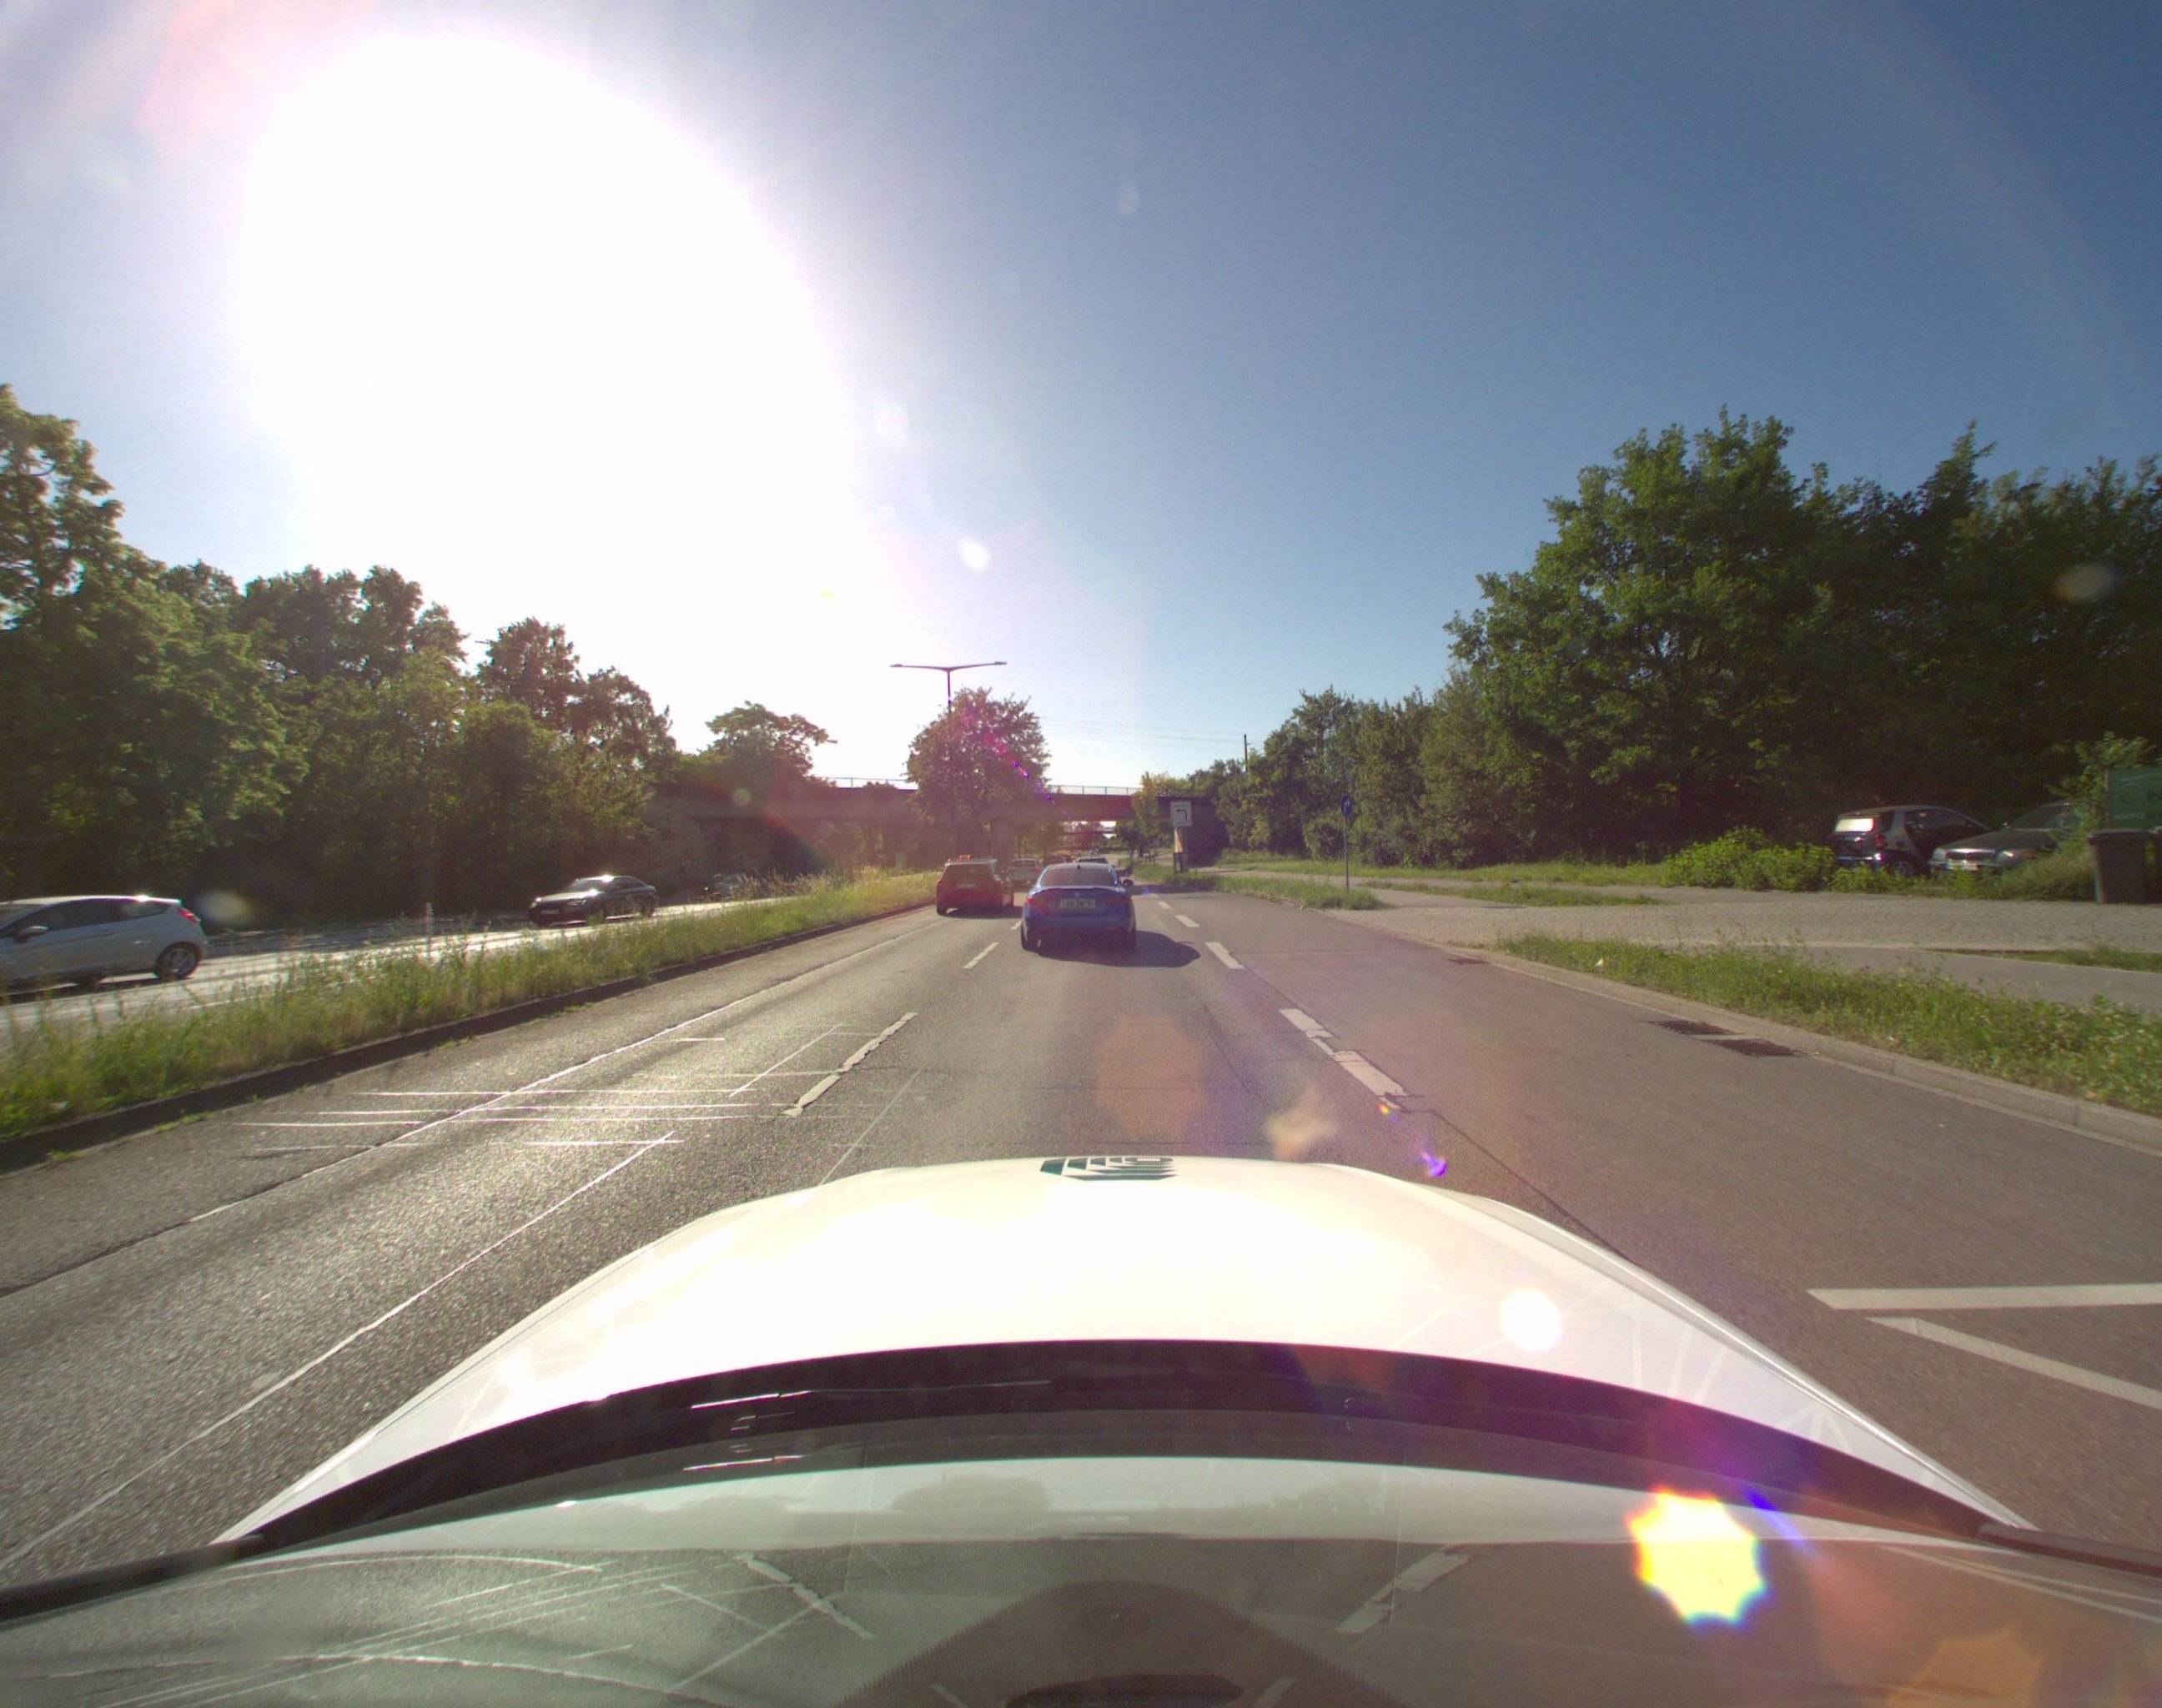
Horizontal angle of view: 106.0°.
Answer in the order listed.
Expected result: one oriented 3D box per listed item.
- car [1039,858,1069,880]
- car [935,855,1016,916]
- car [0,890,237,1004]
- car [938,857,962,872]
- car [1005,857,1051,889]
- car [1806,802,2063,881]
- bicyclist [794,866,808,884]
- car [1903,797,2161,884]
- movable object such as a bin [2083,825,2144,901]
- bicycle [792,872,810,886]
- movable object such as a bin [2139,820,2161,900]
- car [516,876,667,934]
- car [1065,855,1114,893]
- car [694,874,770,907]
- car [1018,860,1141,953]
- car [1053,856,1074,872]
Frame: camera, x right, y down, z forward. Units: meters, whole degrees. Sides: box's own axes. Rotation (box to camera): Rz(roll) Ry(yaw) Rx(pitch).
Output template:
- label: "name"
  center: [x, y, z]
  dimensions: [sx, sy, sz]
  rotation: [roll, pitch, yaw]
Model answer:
- label: "car"
  center: [-1.932, 1.067, 58.974]
  dimensions: [1.876, 1.454, 4.527]
  rotation: [-1, 0, 1]
- label: "car"
  center: [-2.955, 0.843, 23.650]
  dimensions: [1.702, 1.598, 4.225]
  rotation: [-1, 0, 1]
- label: "car"
  center: [-15.731, 1.407, 12.254]
  dimensions: [1.635, 1.451, 4.112]
  rotation: [-4, -1, 1]
- label: "car"
  center: [-14.208, 1.126, 88.781]
  dimensions: [1.810, 1.442, 4.090]
  rotation: [-3, -1, 1]
- label: "car"
  center: [-2.600, 0.911, 40.658]
  dimensions: [1.876, 1.454, 4.527]
  rotation: [-1, 0, 1]
- label: "car"
  center: [17.135, -0.233, 16.493]
  dimensions: [3.271, 1.486, 1.773]
  rotation: [-1, -1, 2]
- label: "bicyclist"
  center: [-21.282, 1.585, 62.000]
  dimensions: [0.677, 1.402, 1.027]
  rotation: [-1, -1, 1]
- label: "car"
  center: [17.060, -0.228, 14.382]
  dimensions: [3.271, 1.417, 1.729]
  rotation: [-1, -1, 2]
- label: "movable object such as a bin"
  center: [14.984, 0.121, 11.831]
  dimensions: [0.585, 1.074, 0.504]
  rotation: [-1, 0, -40]
- label: "bicycle"
  center: [-21.287, 1.882, 61.921]
  dimensions: [0.681, 1.030, 1.715]
  rotation: [-1, -1, 1]
- label: "movable object such as a bin"
  center: [15.418, 0.075, 11.514]
  dimensions: [0.585, 1.121, 0.504]
  rotation: [-1, -1, -40]
- label: "car"
  center: [-15.180, 1.519, 25.610]
  dimensions: [1.811, 1.435, 4.631]
  rotation: [-4, -1, 1]
- label: "car"
  center: [0.380, 0.795, 33.905]
  dimensions: [1.876, 1.454, 4.527]
  rotation: [-1, 0, 1]
- label: "car"
  center: [-18.371, 1.879, 43.114]
  dimensions: [1.907, 1.454, 4.491]
  rotation: [-4, -1, 1]
- label: "car"
  center: [0.034, 0.827, 14.655]
  dimensions: [1.876, 1.406, 4.225]
  rotation: [-1, 0, 1]
- label: "car"
  center: [-1.657, 0.952, 78.945]
  dimensions: [1.773, 1.454, 4.183]
  rotation: [-2, 0, 1]
